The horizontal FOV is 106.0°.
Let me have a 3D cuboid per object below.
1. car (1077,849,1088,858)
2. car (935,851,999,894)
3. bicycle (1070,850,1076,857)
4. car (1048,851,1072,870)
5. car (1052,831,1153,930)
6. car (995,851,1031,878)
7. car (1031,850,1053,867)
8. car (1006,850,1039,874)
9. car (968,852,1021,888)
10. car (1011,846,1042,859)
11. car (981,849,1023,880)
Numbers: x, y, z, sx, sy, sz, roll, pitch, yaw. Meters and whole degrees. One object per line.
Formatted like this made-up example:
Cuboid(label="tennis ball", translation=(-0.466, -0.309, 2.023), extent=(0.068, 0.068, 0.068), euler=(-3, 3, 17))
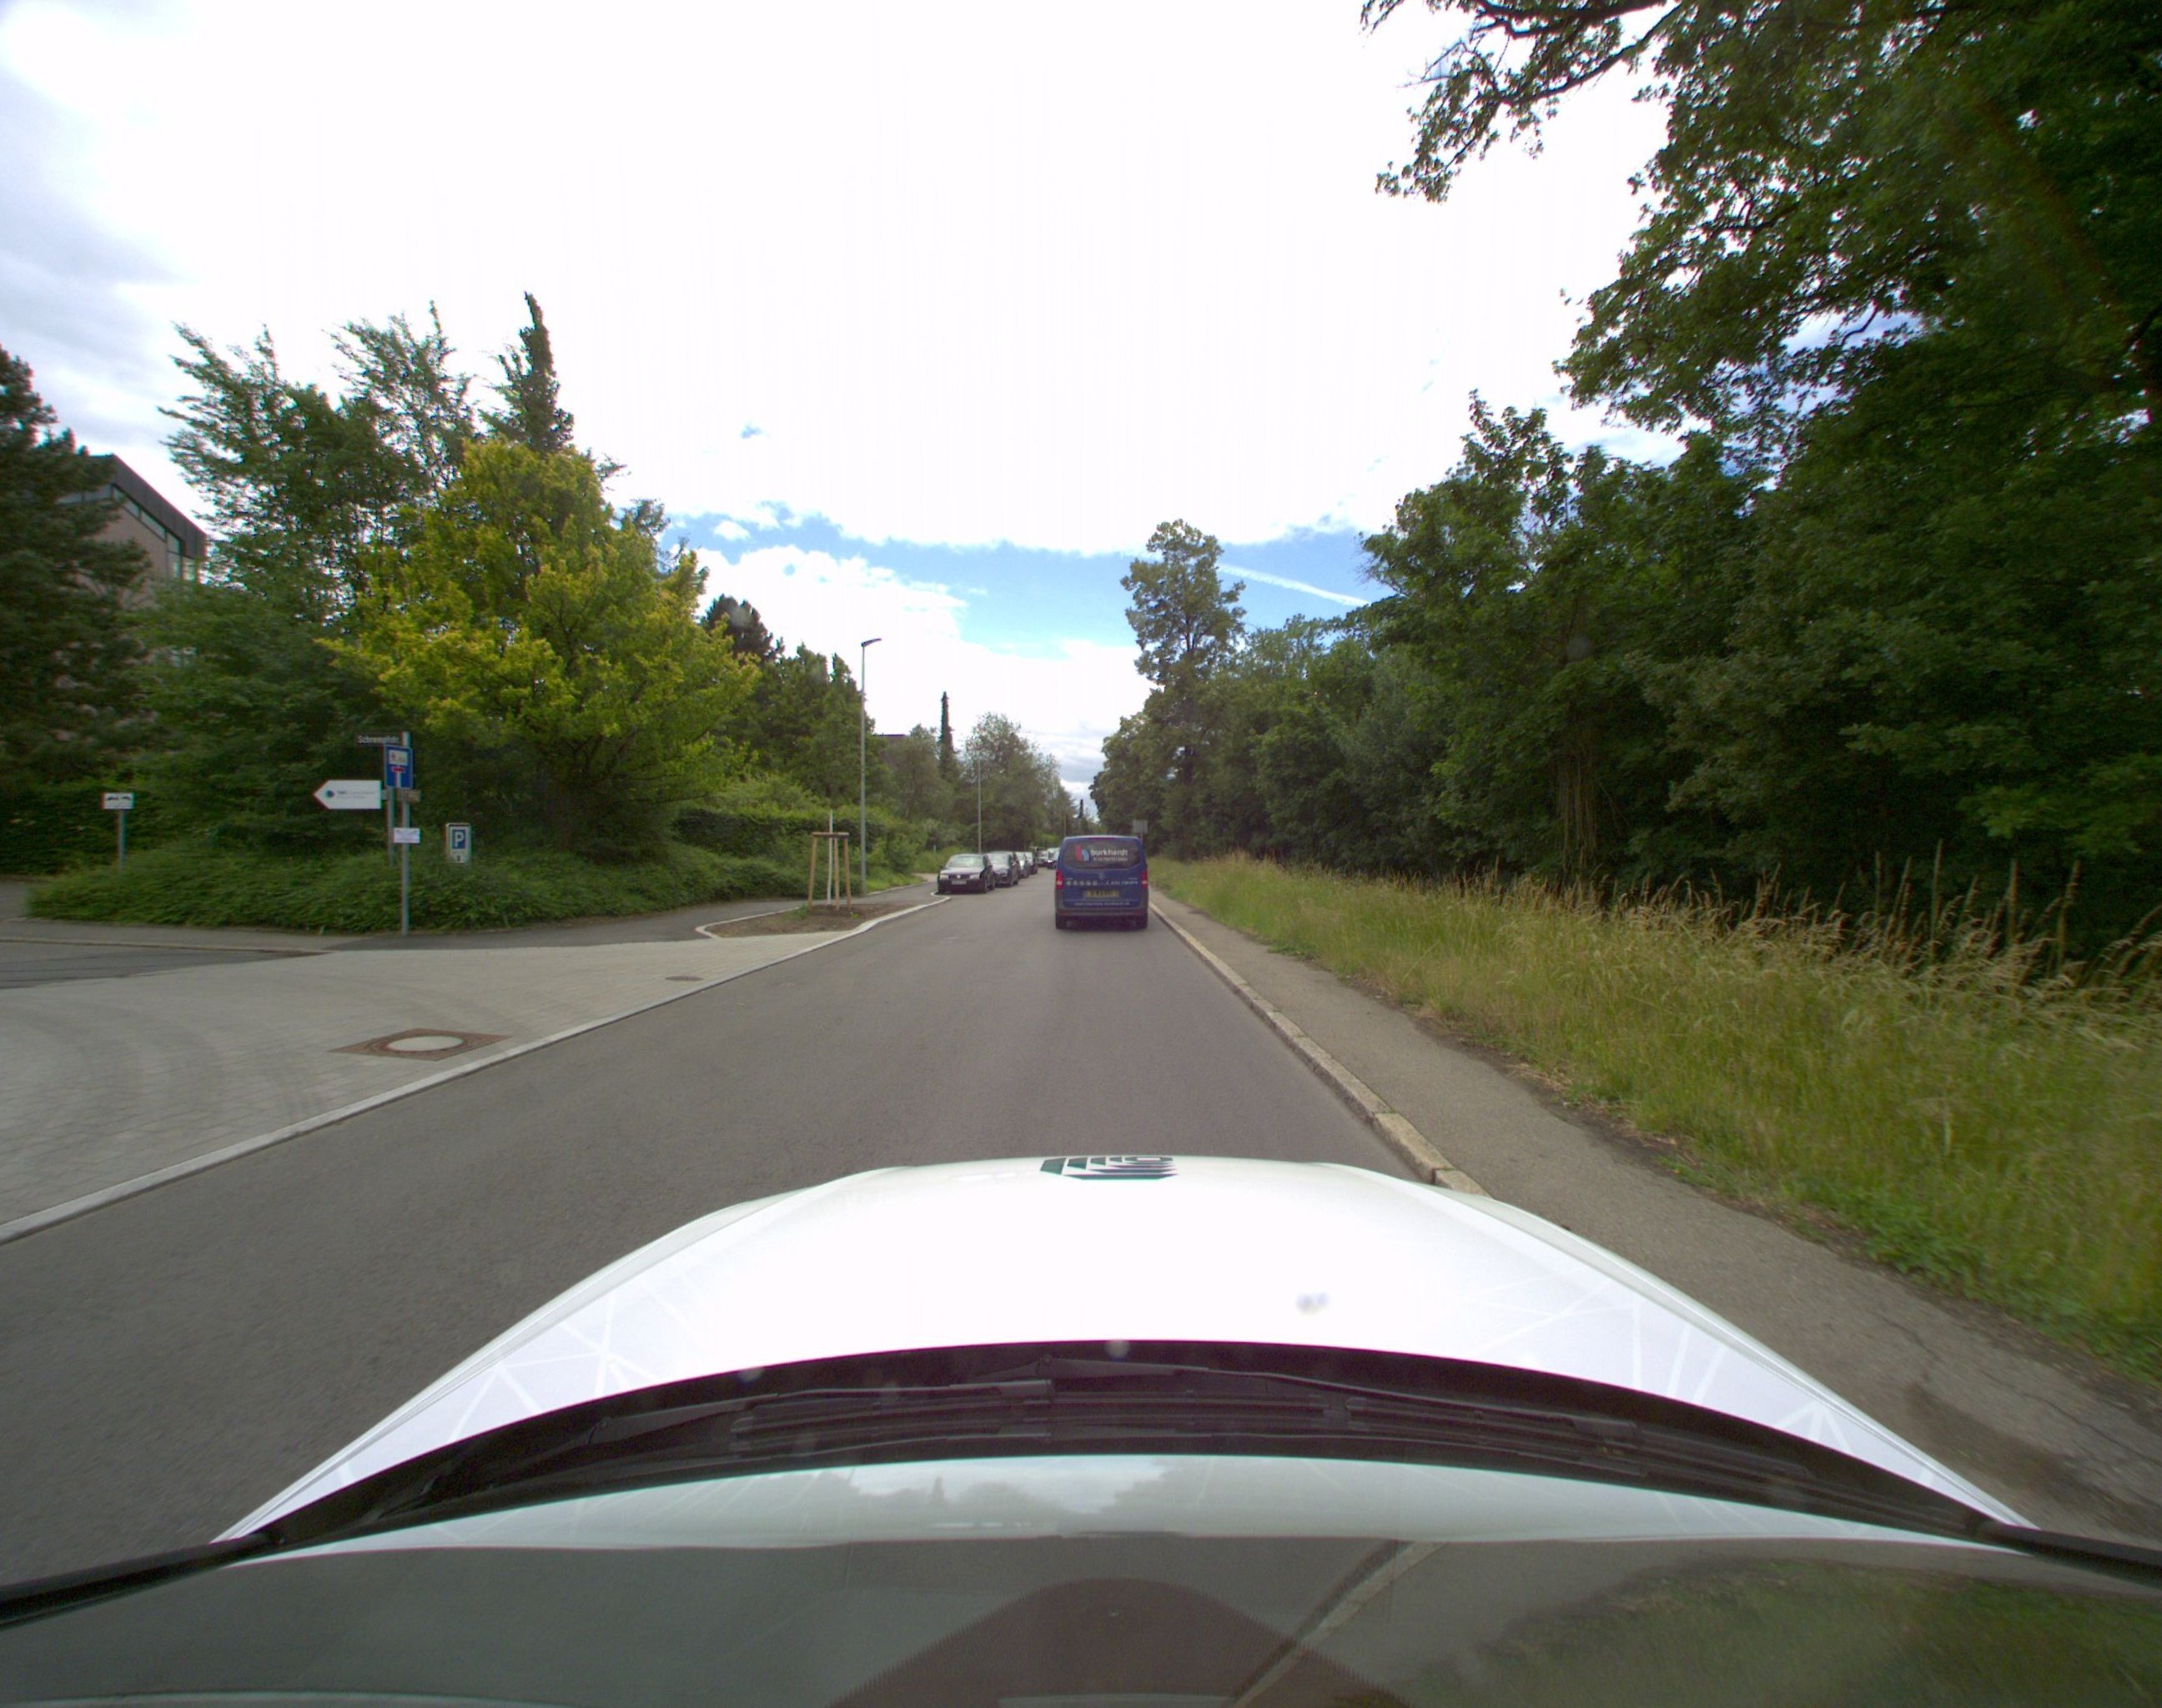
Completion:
Cuboid(label="car", translation=(0.276, -0.152, 162.598), extent=(1.828, 1.631, 4.306), euler=(2, 0, 4))
Cuboid(label="car", translation=(-4.194, 0.643, 30.663), extent=(1.677, 1.482, 4.693), euler=(0, 0, 1))
Cuboid(label="bicycle", translation=(-1.511, -0.106, 159.755), extent=(0.902, 1.251, 2.919), euler=(3, 0, 4))
Cuboid(label="car", translation=(-1.661, 0.517, 65.951), extent=(1.775, 1.426, 4.489), euler=(1, 0, 0))
Cuboid(label="car", translation=(0.373, 0.442, 17.475), extent=(1.883, 1.843, 3.999), euler=(1, 2, -1))
Cuboid(label="car", translation=(-3.761, 0.571, 45.749), extent=(1.619, 1.432, 4.350), euler=(0, 0, 0))
Cuboid(label="car", translation=(-3.426, 0.379, 72.461), extent=(1.616, 1.450, 3.972), euler=(0, 0, 3))
Cuboid(label="car", translation=(-3.699, 0.451, 52.239), extent=(1.772, 1.432, 5.104), euler=(1, 0, 0))
Cuboid(label="car", translation=(-3.698, 0.643, 35.631), extent=(1.700, 1.482, 4.497), euler=(0, 0, 2))
Cuboid(label="car", translation=(-7.212, -0.179, 108.534), extent=(3.666, 1.637, 1.835), euler=(2, 0, 14))
Cuboid(label="car", translation=(-3.911, 0.484, 40.856), extent=(1.618, 1.482, 4.001), euler=(0, 0, 1))
